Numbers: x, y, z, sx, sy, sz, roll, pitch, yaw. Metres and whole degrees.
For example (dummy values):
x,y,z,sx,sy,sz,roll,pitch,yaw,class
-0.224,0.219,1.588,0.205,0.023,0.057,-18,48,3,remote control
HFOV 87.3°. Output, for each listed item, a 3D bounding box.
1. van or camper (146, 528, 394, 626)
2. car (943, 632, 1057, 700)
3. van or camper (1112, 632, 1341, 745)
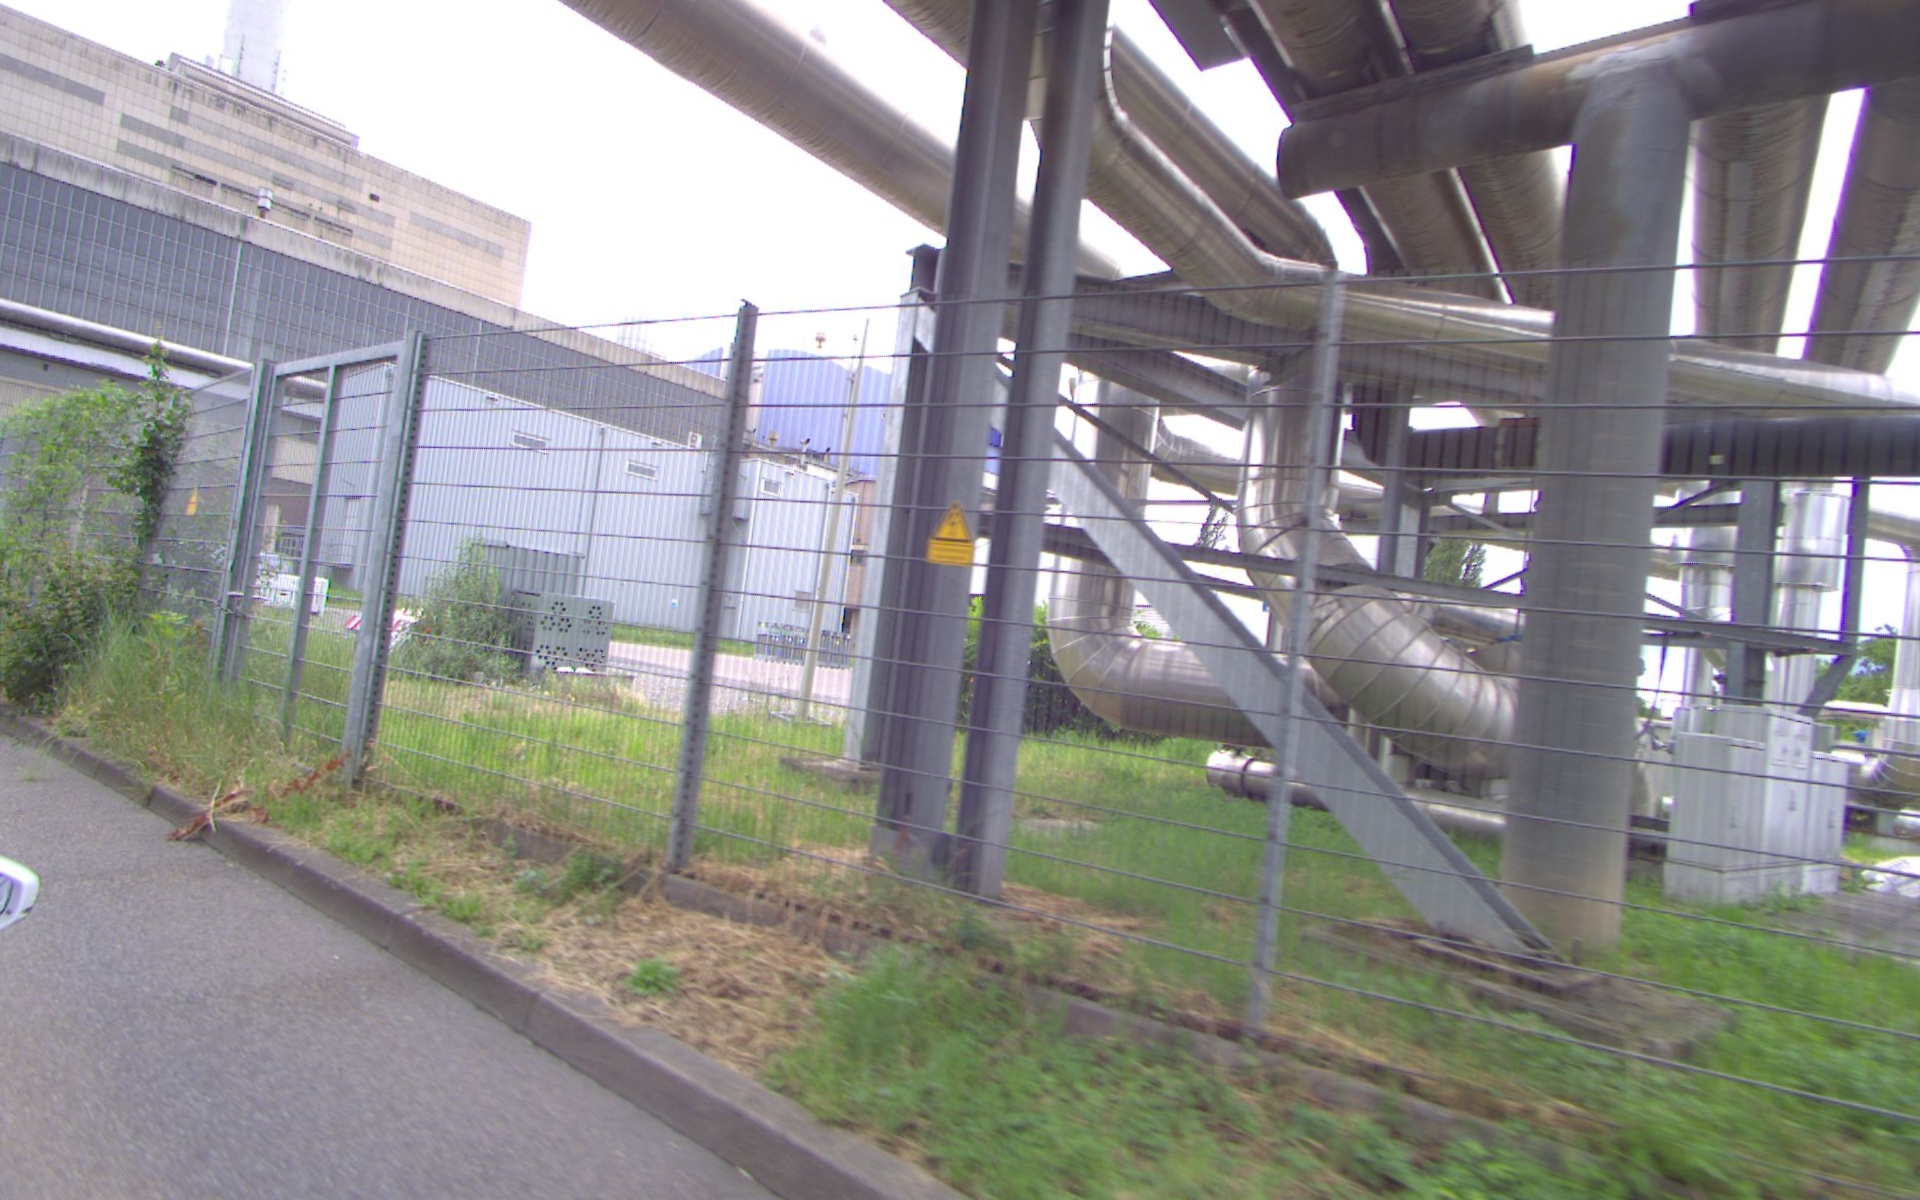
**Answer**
x,y,z,sx,sy,sz,roll,pitch,yaw,class
-44.073,-1.266,65.071,5.387,4.580,11.856,4,-4,23,van or camper
1.550,2.515,37.690,1.970,2.036,4.328,5,-3,37,car
7.968,2.611,30.544,6.048,2.577,2.563,4,-3,44,van or camper
